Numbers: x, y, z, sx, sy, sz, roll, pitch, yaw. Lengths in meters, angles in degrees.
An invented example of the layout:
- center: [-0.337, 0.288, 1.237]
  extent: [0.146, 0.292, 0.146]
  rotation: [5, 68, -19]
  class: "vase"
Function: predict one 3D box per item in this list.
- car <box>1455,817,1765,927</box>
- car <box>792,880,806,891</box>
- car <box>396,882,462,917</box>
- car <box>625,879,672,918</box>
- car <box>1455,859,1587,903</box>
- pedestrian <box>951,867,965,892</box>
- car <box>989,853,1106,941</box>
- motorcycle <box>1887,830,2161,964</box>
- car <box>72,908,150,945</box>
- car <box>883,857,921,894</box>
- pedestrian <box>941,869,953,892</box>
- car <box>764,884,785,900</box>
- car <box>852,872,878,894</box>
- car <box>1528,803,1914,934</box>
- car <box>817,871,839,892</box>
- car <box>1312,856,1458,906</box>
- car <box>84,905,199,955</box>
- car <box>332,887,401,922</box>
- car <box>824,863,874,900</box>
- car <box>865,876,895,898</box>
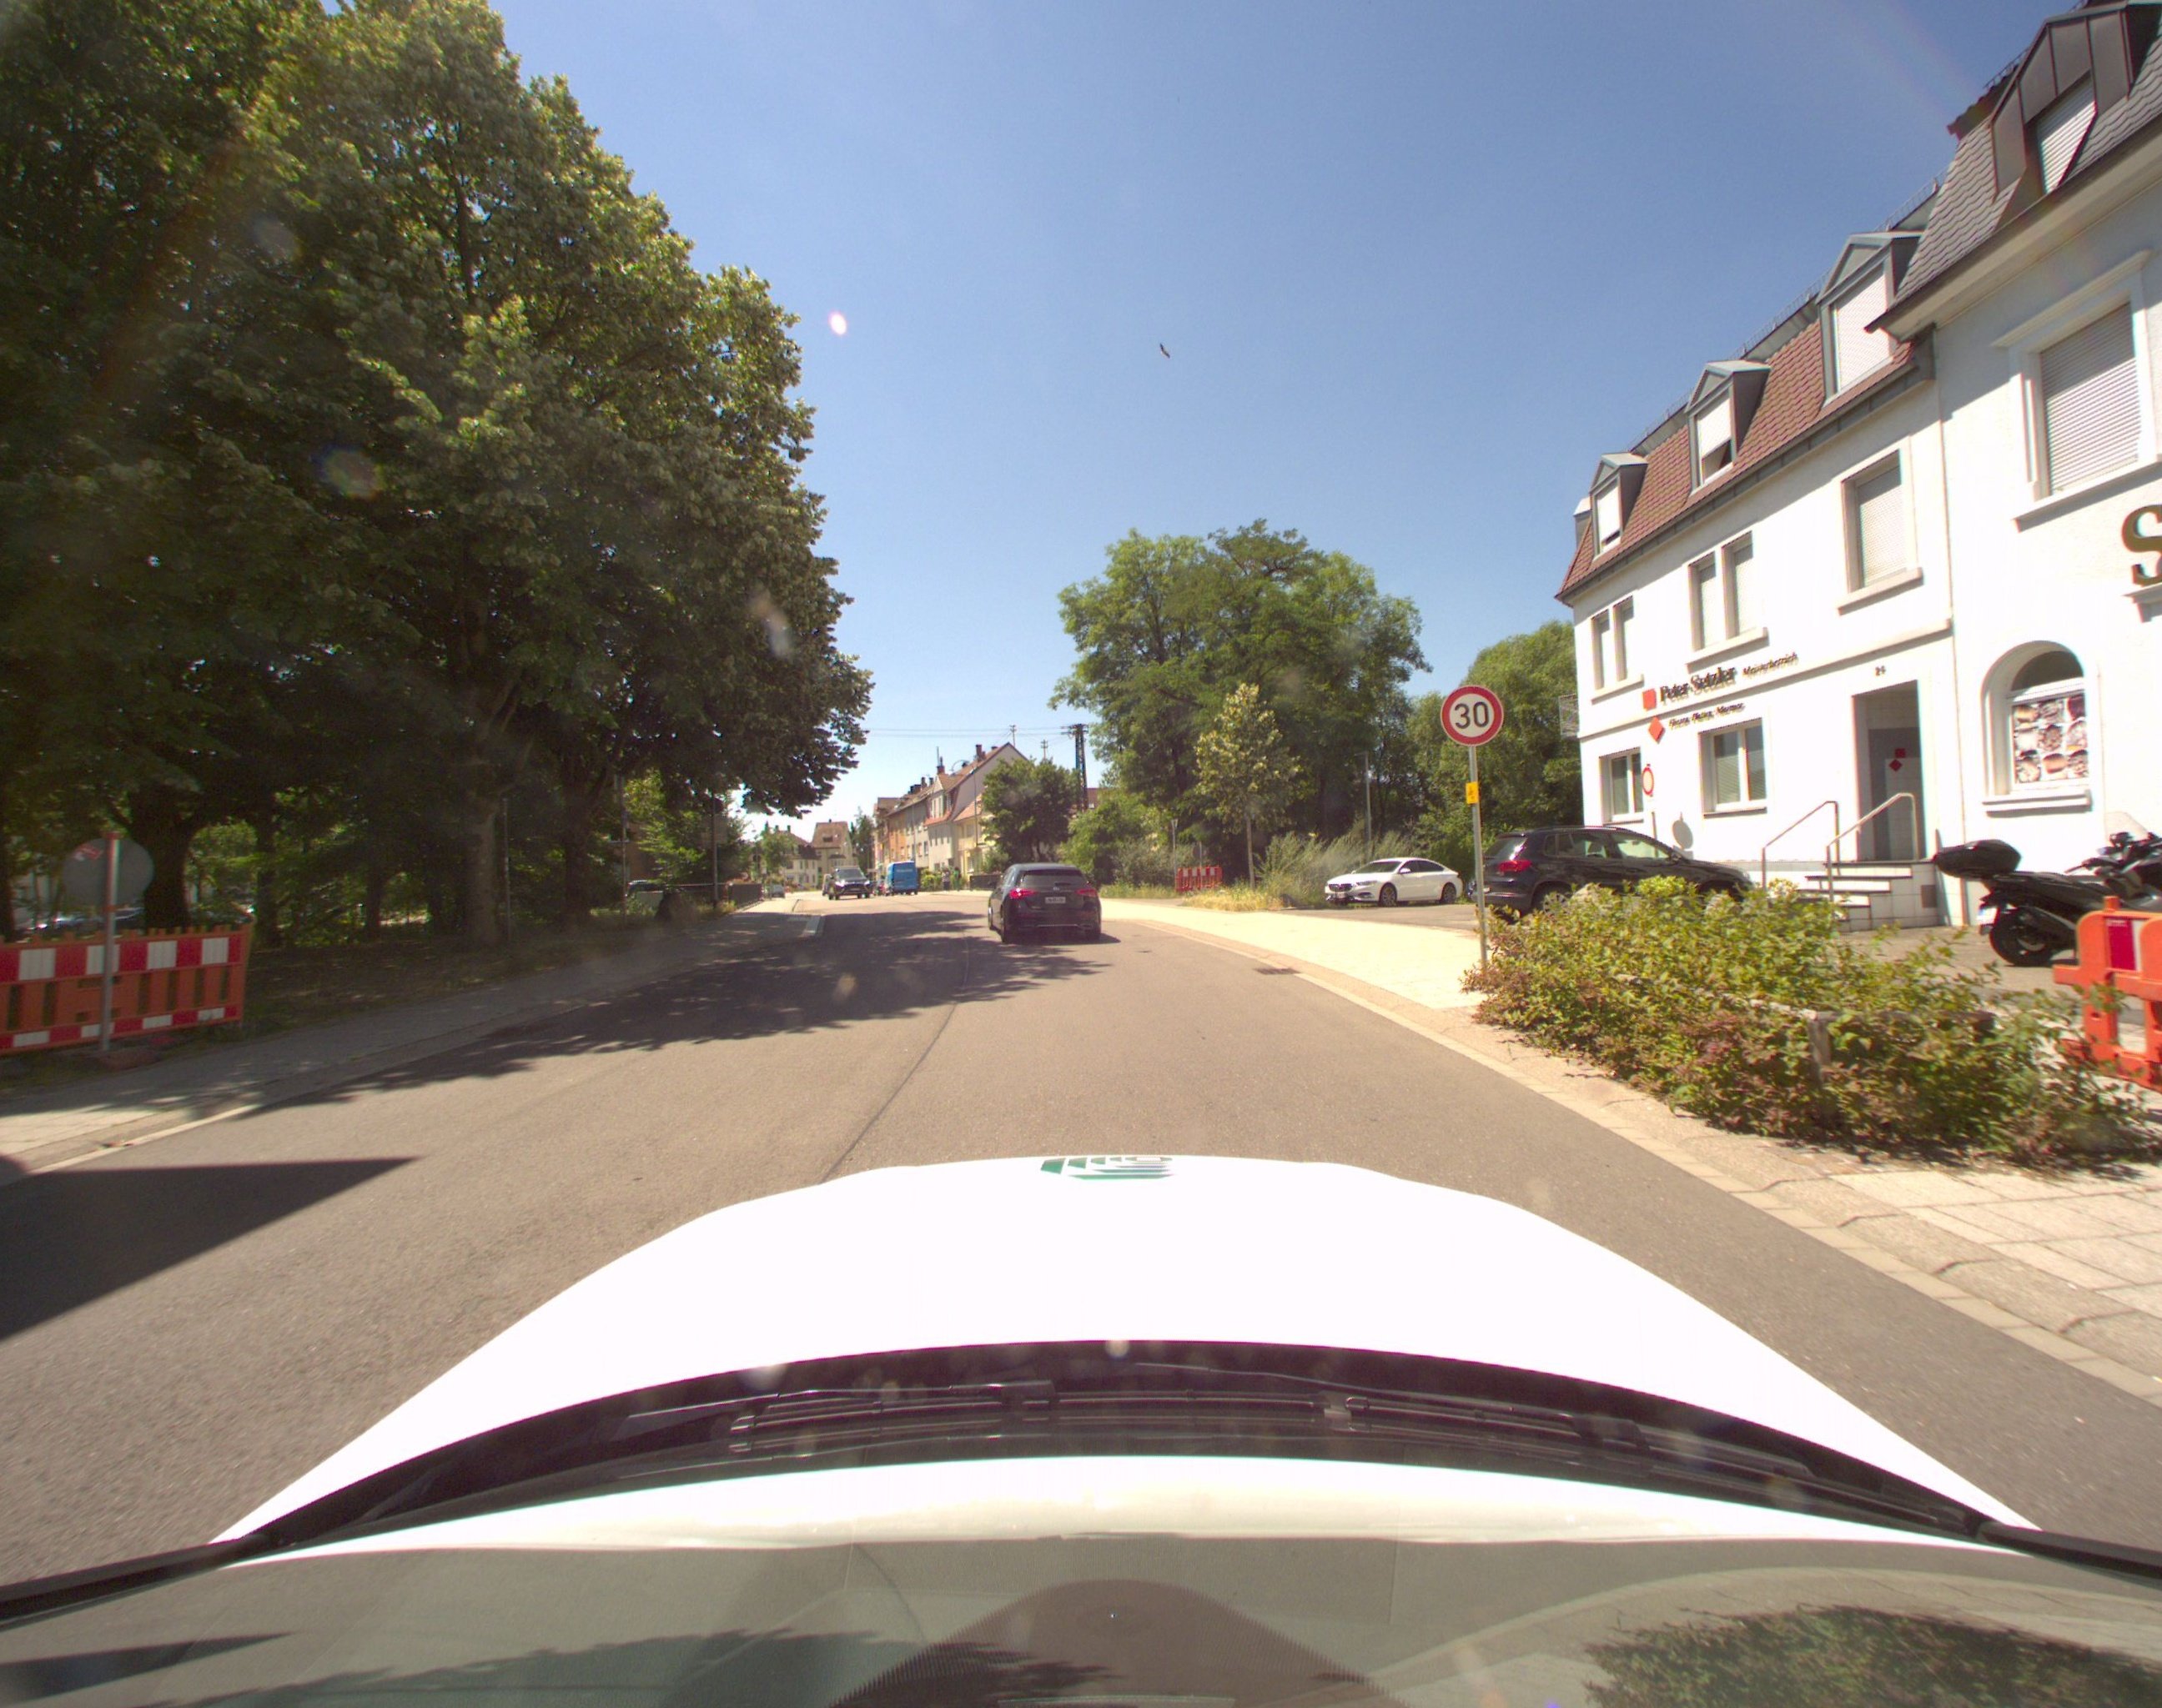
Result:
- center: [8.854, 0.304, 13.945]
  extent: [4.057, 1.716, 1.858]
  rotation: [-1, -1, 3]
  class: "car"
- center: [-42.549, 4.706, 122.761]
  extent: [2.000, 1.660, 3.972]
  rotation: [1, -2, -20]
  class: "car"
- center: [-41.517, 2.872, 51.980]
  extent: [2.000, 2.014, 3.974]
  rotation: [-1, -1, -19]
  class: "car"
- center: [-25.098, 2.523, 47.363]
  extent: [2.002, 2.013, 3.970]
  rotation: [-1, 0, -22]
  class: "car"
- center: [14.768, 0.890, 27.302]
  extent: [4.213, 1.350, 1.843]
  rotation: [0, -3, -29]
  class: "car"
- center: [-8.720, 1.788, 57.591]
  extent: [0.666, 1.741, 0.694]
  rotation: [-1, -2, -38]
  class: "pedestrian"
- center: [-0.796, 0.846, 15.982]
  extent: [1.827, 1.442, 3.987]
  rotation: [-2, -3, -9]
  class: "car"
- center: [9.932, 0.421, 8.354]
  extent: [2.366, 1.275, 0.857]
  rotation: [-1, -1, 4]
  class: "motorcycle"
- center: [-52.957, 3.916, 44.556]
  extent: [2.010, 1.684, 3.953]
  rotation: [-1, -1, -39]
  class: "car"
- center: [-13.474, 1.624, 61.092]
  extent: [2.140, 2.541, 4.617]
  rotation: [-2, -1, -20]
  class: "car"
- center: [-9.631, 1.914, 58.371]
  extent: [0.617, 1.613, 0.830]
  rotation: [-1, -2, -25]
  class: "pedestrian"
- center: [-32.580, 4.058, 86.591]
  extent: [2.000, 1.660, 3.972]
  rotation: [1, -2, -20]
  class: "car"
- center: [-21.104, 2.807, 79.393]
  extent: [2.001, 2.014, 3.972]
  rotation: [-1, 0, -21]
  class: "car"
- center: [9.010, 0.216, 11.782]
  extent: [4.057, 1.716, 1.858]
  rotation: [-1, -1, 3]
  class: "car"
- center: [-30.341, 3.273, 97.476]
  extent: [2.252, 2.343, 4.819]
  rotation: [-1, 0, -20]
  class: "car"
- center: [8.988, 0.768, 24.016]
  extent: [4.217, 1.350, 1.841]
  rotation: [0, -2, -32]
  class: "car"
- center: [-44.764, 3.557, 38.922]
  extent: [2.002, 2.014, 3.969]
  rotation: [-1, -1, -23]
  class: "car"
- center: [-44.676, 3.124, 51.029]
  extent: [2.002, 2.014, 3.970]
  rotation: [-1, -2, -22]
  class: "car"
- center: [-12.521, 1.471, 43.776]
  extent: [1.750, 1.772, 4.299]
  rotation: [-3, 0, -27]
  class: "car"
- center: [-17.801, 2.884, 72.055]
  extent: [2.001, 1.746, 4.298]
  rotation: [-1, 0, -21]
  class: "car"
